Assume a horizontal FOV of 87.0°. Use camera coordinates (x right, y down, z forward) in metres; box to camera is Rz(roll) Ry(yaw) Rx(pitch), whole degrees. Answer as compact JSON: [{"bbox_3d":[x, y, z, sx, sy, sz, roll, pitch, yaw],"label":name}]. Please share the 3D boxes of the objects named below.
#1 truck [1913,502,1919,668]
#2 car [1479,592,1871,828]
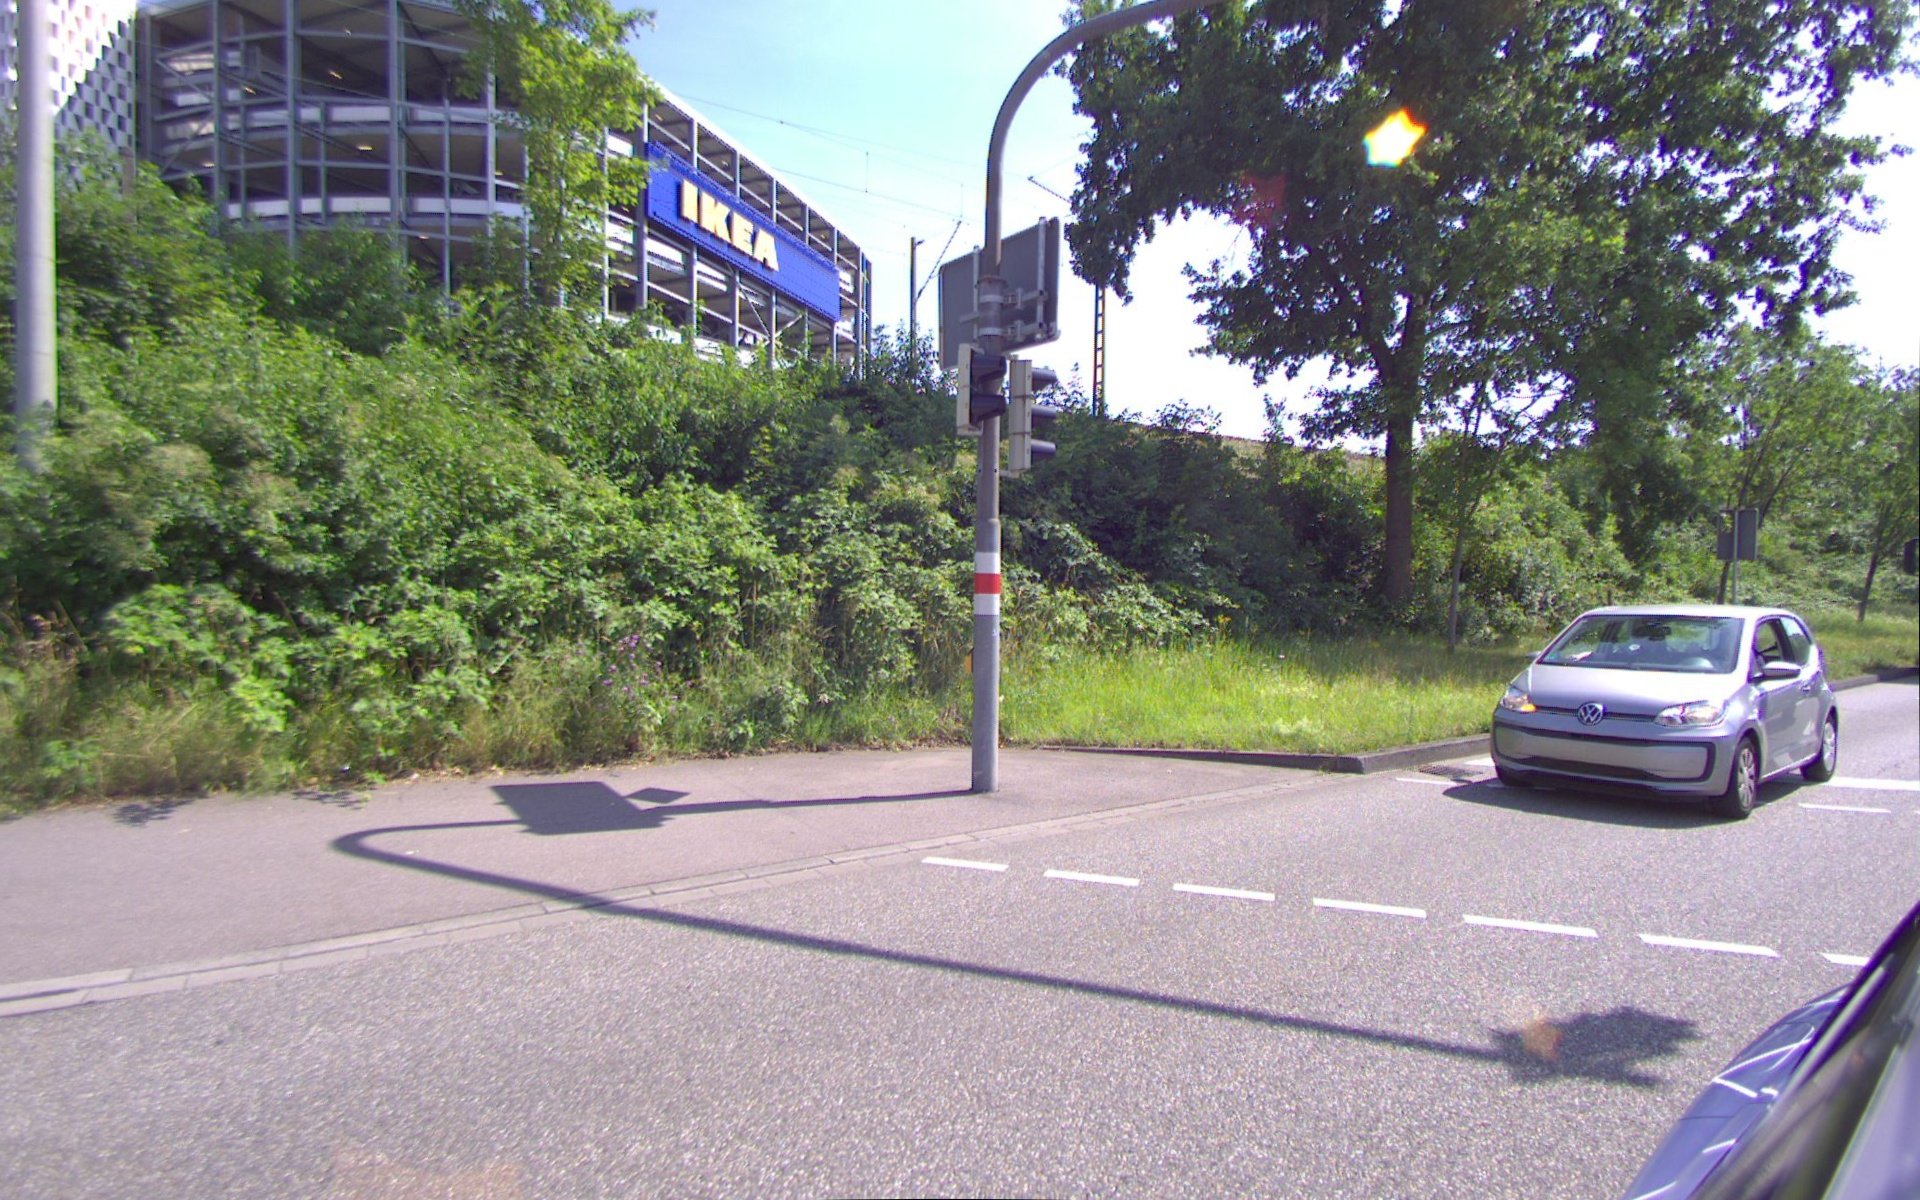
[{"bbox_3d":[22.816,-0.280,21.266,7.342,3.308,2.777,0,1,-36],"label":"truck"},{"bbox_3d":[5.881,0.679,8.191,3.613,1.455,1.704,0,1,-40],"label":"car"}]
